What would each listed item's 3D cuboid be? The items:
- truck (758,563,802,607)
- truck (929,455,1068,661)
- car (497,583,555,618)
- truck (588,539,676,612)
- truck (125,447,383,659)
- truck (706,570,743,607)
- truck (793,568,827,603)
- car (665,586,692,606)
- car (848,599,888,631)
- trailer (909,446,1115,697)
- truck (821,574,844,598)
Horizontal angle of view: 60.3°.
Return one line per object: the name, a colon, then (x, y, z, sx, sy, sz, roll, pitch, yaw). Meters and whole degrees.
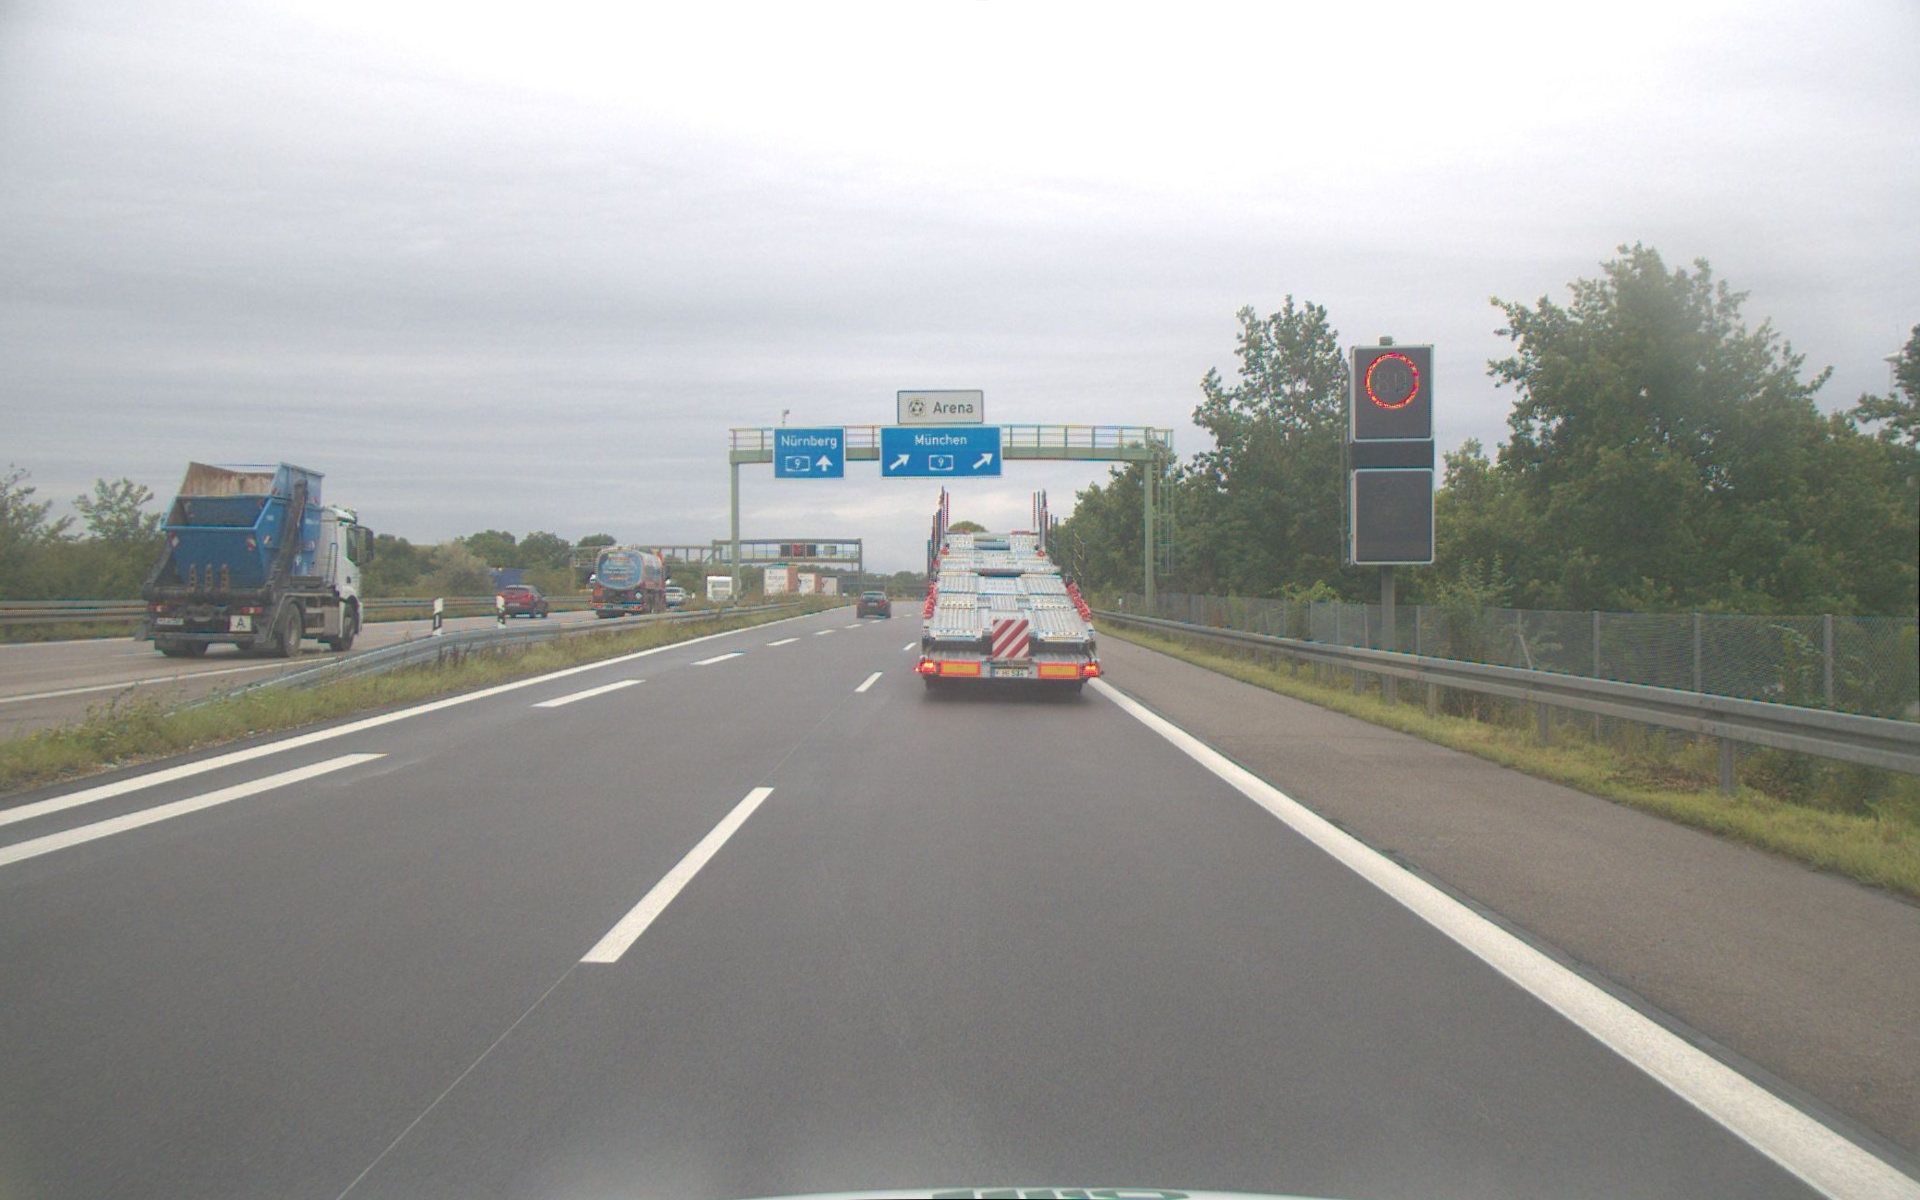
truck: (-19.295, -1.632, 177.830, 3.657, 4.494, 10.193, 1, 0, -1)
truck: (0.775, -0.868, 37.413, 2.682, 4.037, 9.128, 1, 0, 0)
car: (-20.593, 0.051, 78.623, 1.758, 1.584, 3.825, 1, 0, -1)
truck: (-16.435, -1.196, 83.500, 2.799, 3.423, 8.629, 1, 0, -1)
truck: (-14.382, -0.864, 34.393, 2.586, 3.879, 7.337, 1, 0, -4)
truck: (-18.186, -0.869, 127.884, 2.197, 2.751, 5.278, 1, 0, -1)
truck: (-20.184, -1.988, 223.188, 3.657, 4.494, 11.894, 1, 0, -1)
car: (-21.964, -0.323, 129.155, 1.649, 1.557, 3.997, 1, 0, -3)
car: (-4.933, 0.802, 89.228, 1.921, 1.666, 5.624, 1, 0, -1)
trailer: (0.730, -0.421, 27.569, 2.720, 3.342, 10.407, 1, 0, 0)
truck: (-20.147, -2.187, 261.972, 2.967, 3.749, 12.146, 1, 0, -1)
